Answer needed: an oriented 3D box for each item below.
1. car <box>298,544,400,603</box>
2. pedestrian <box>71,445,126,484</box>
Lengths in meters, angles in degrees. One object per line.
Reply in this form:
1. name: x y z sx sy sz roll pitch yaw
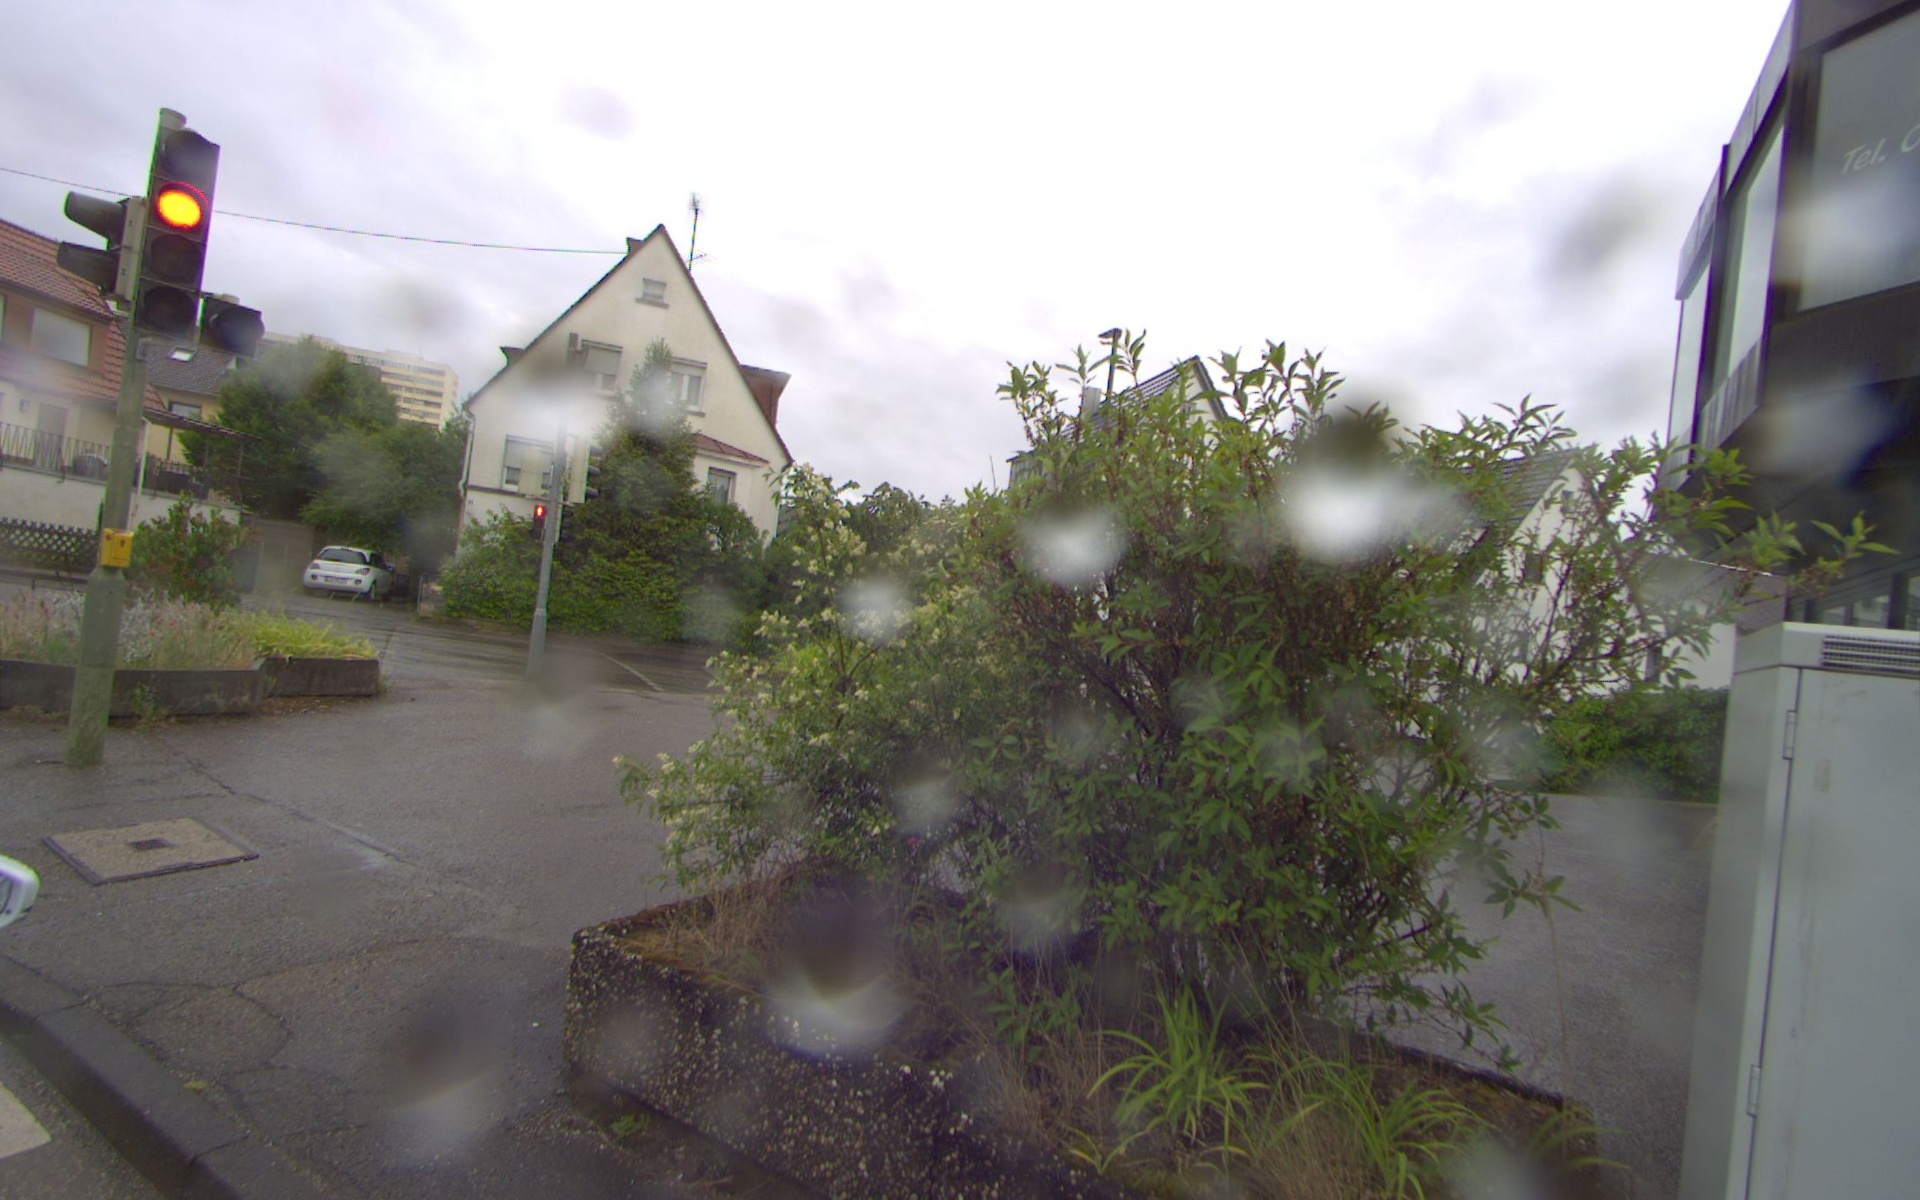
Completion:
1. car: -17.761 -0.746 29.422 1.794 1.378 3.981 8 -2 -22
2. pedestrian: -24.277 -3.803 28.372 0.623 0.893 0.920 5 -2 13
